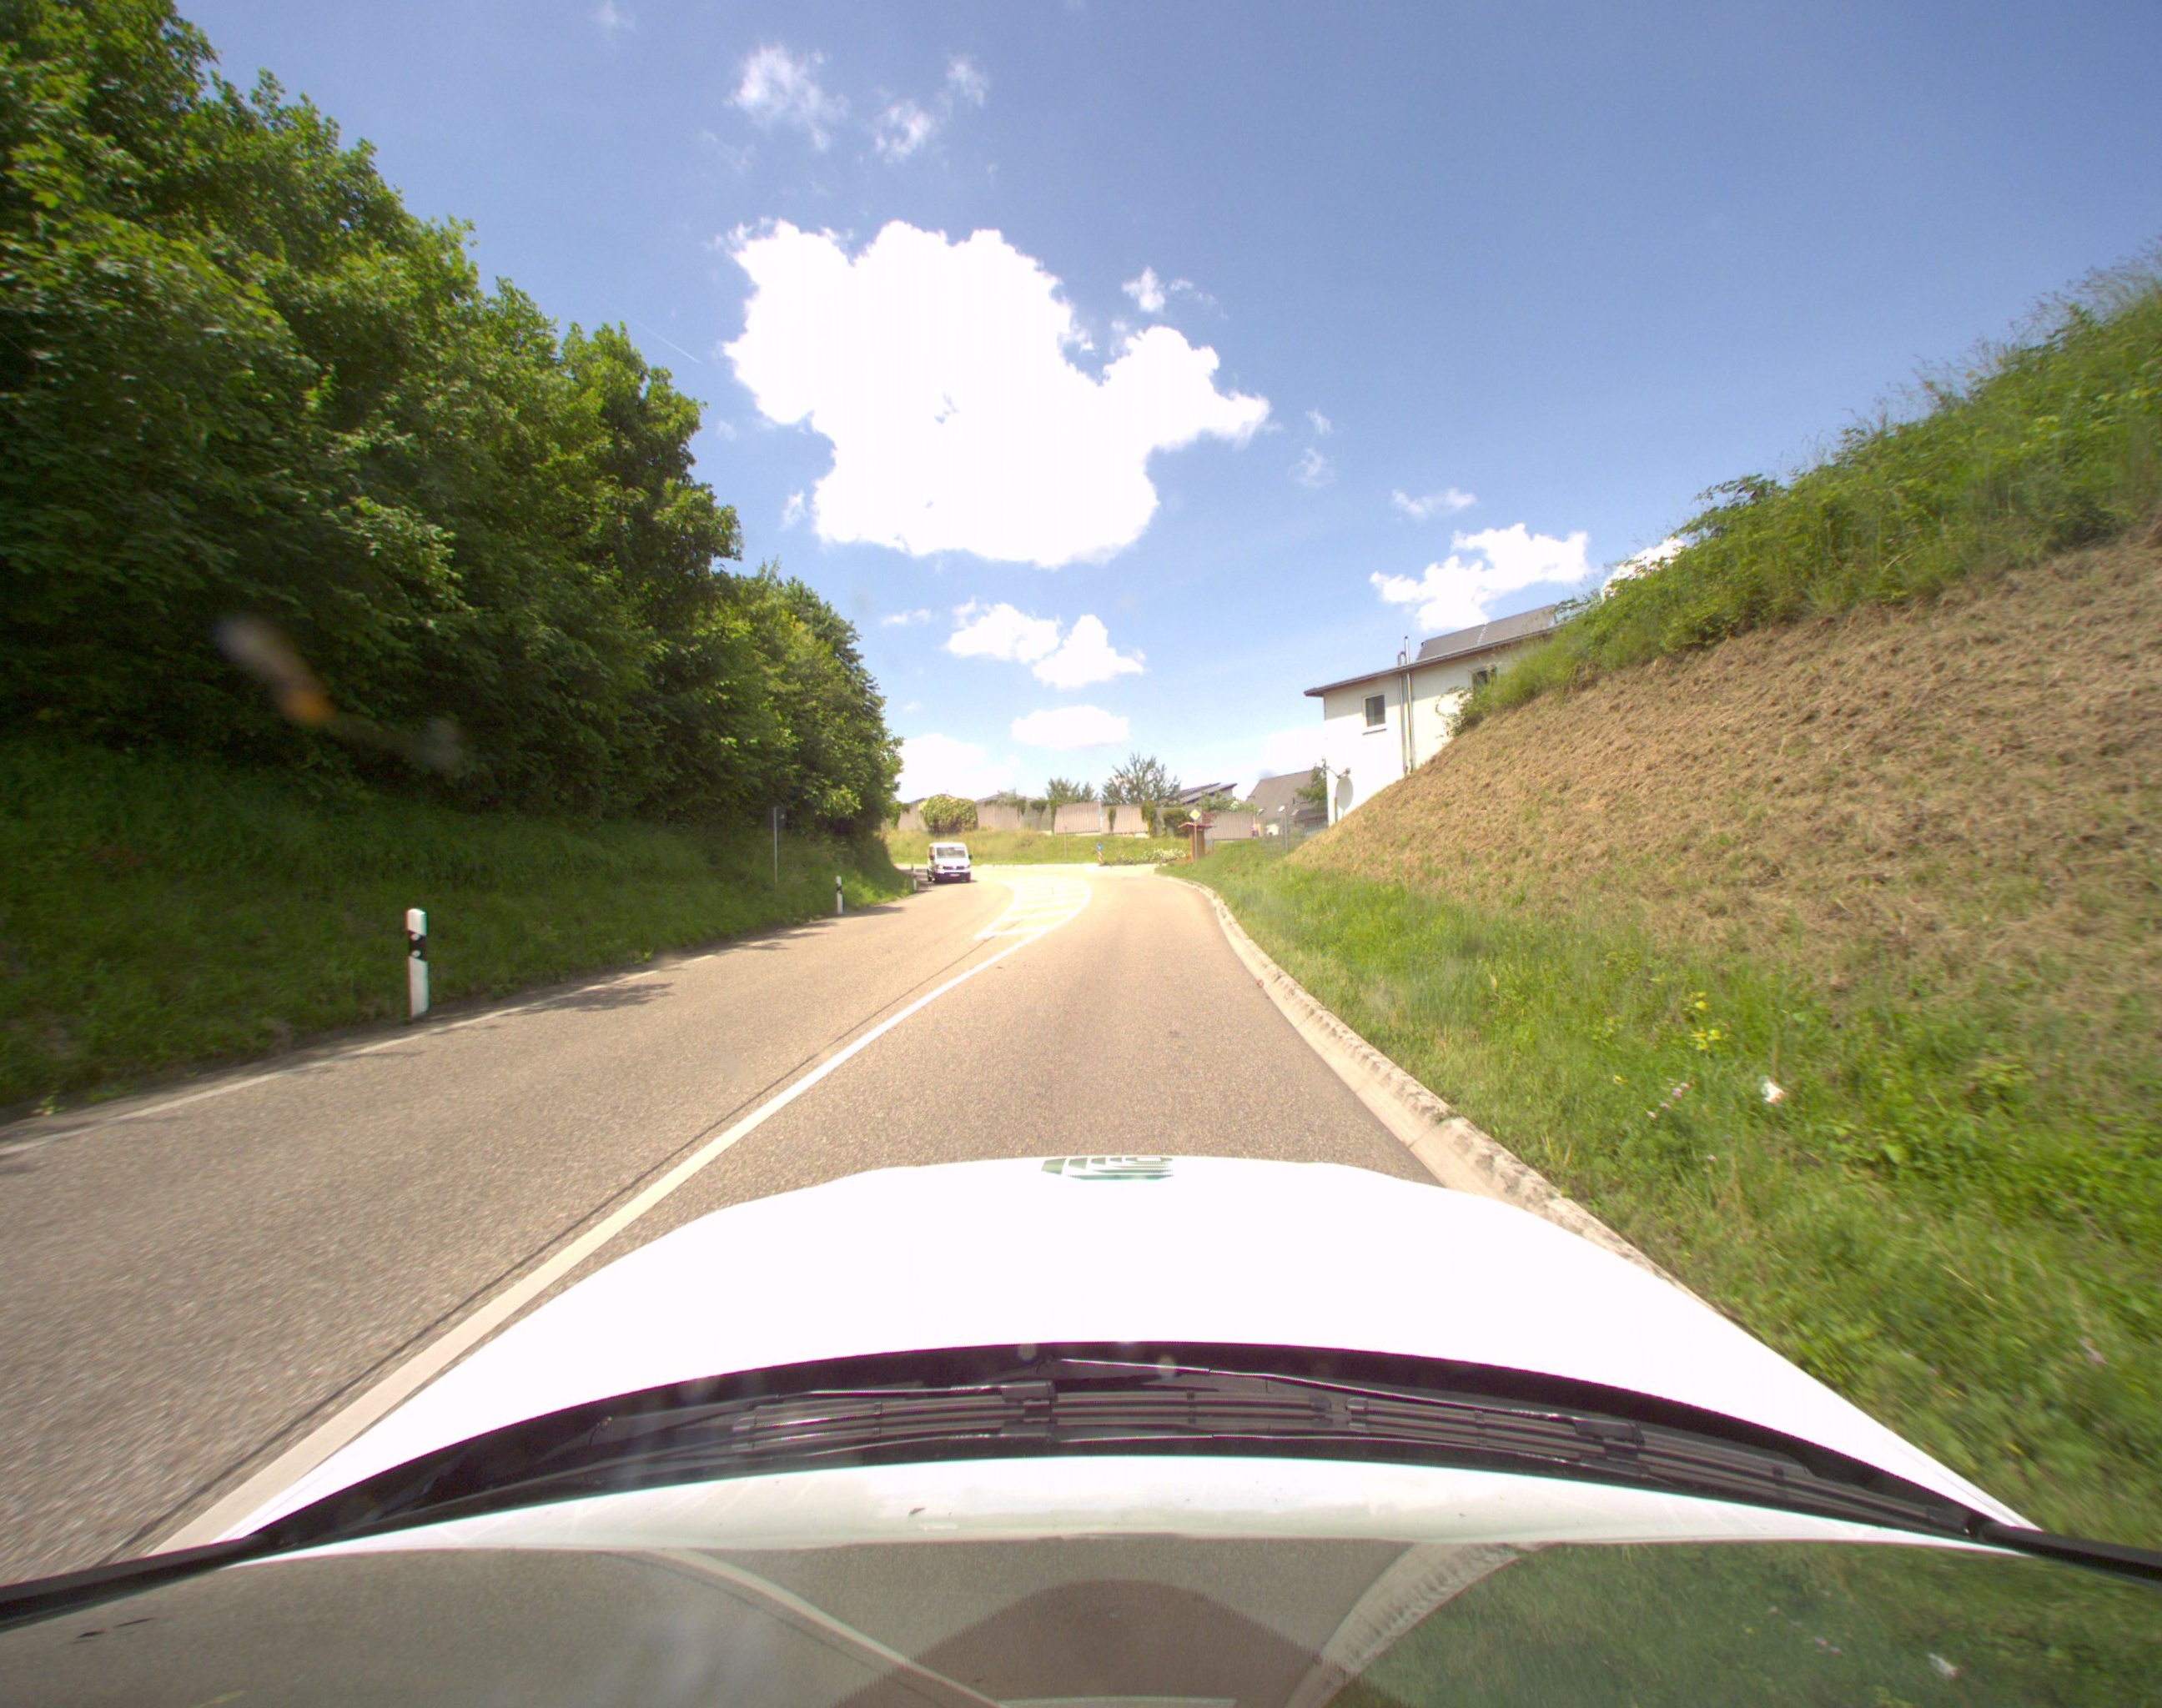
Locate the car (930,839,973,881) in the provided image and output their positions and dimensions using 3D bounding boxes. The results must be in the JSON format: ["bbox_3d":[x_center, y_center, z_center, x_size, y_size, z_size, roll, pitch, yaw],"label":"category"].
[{"bbox_3d":[-7.677,0.350,47.766,2.088,2.290,5.920,-2,0,-13],"label":"car"}]
